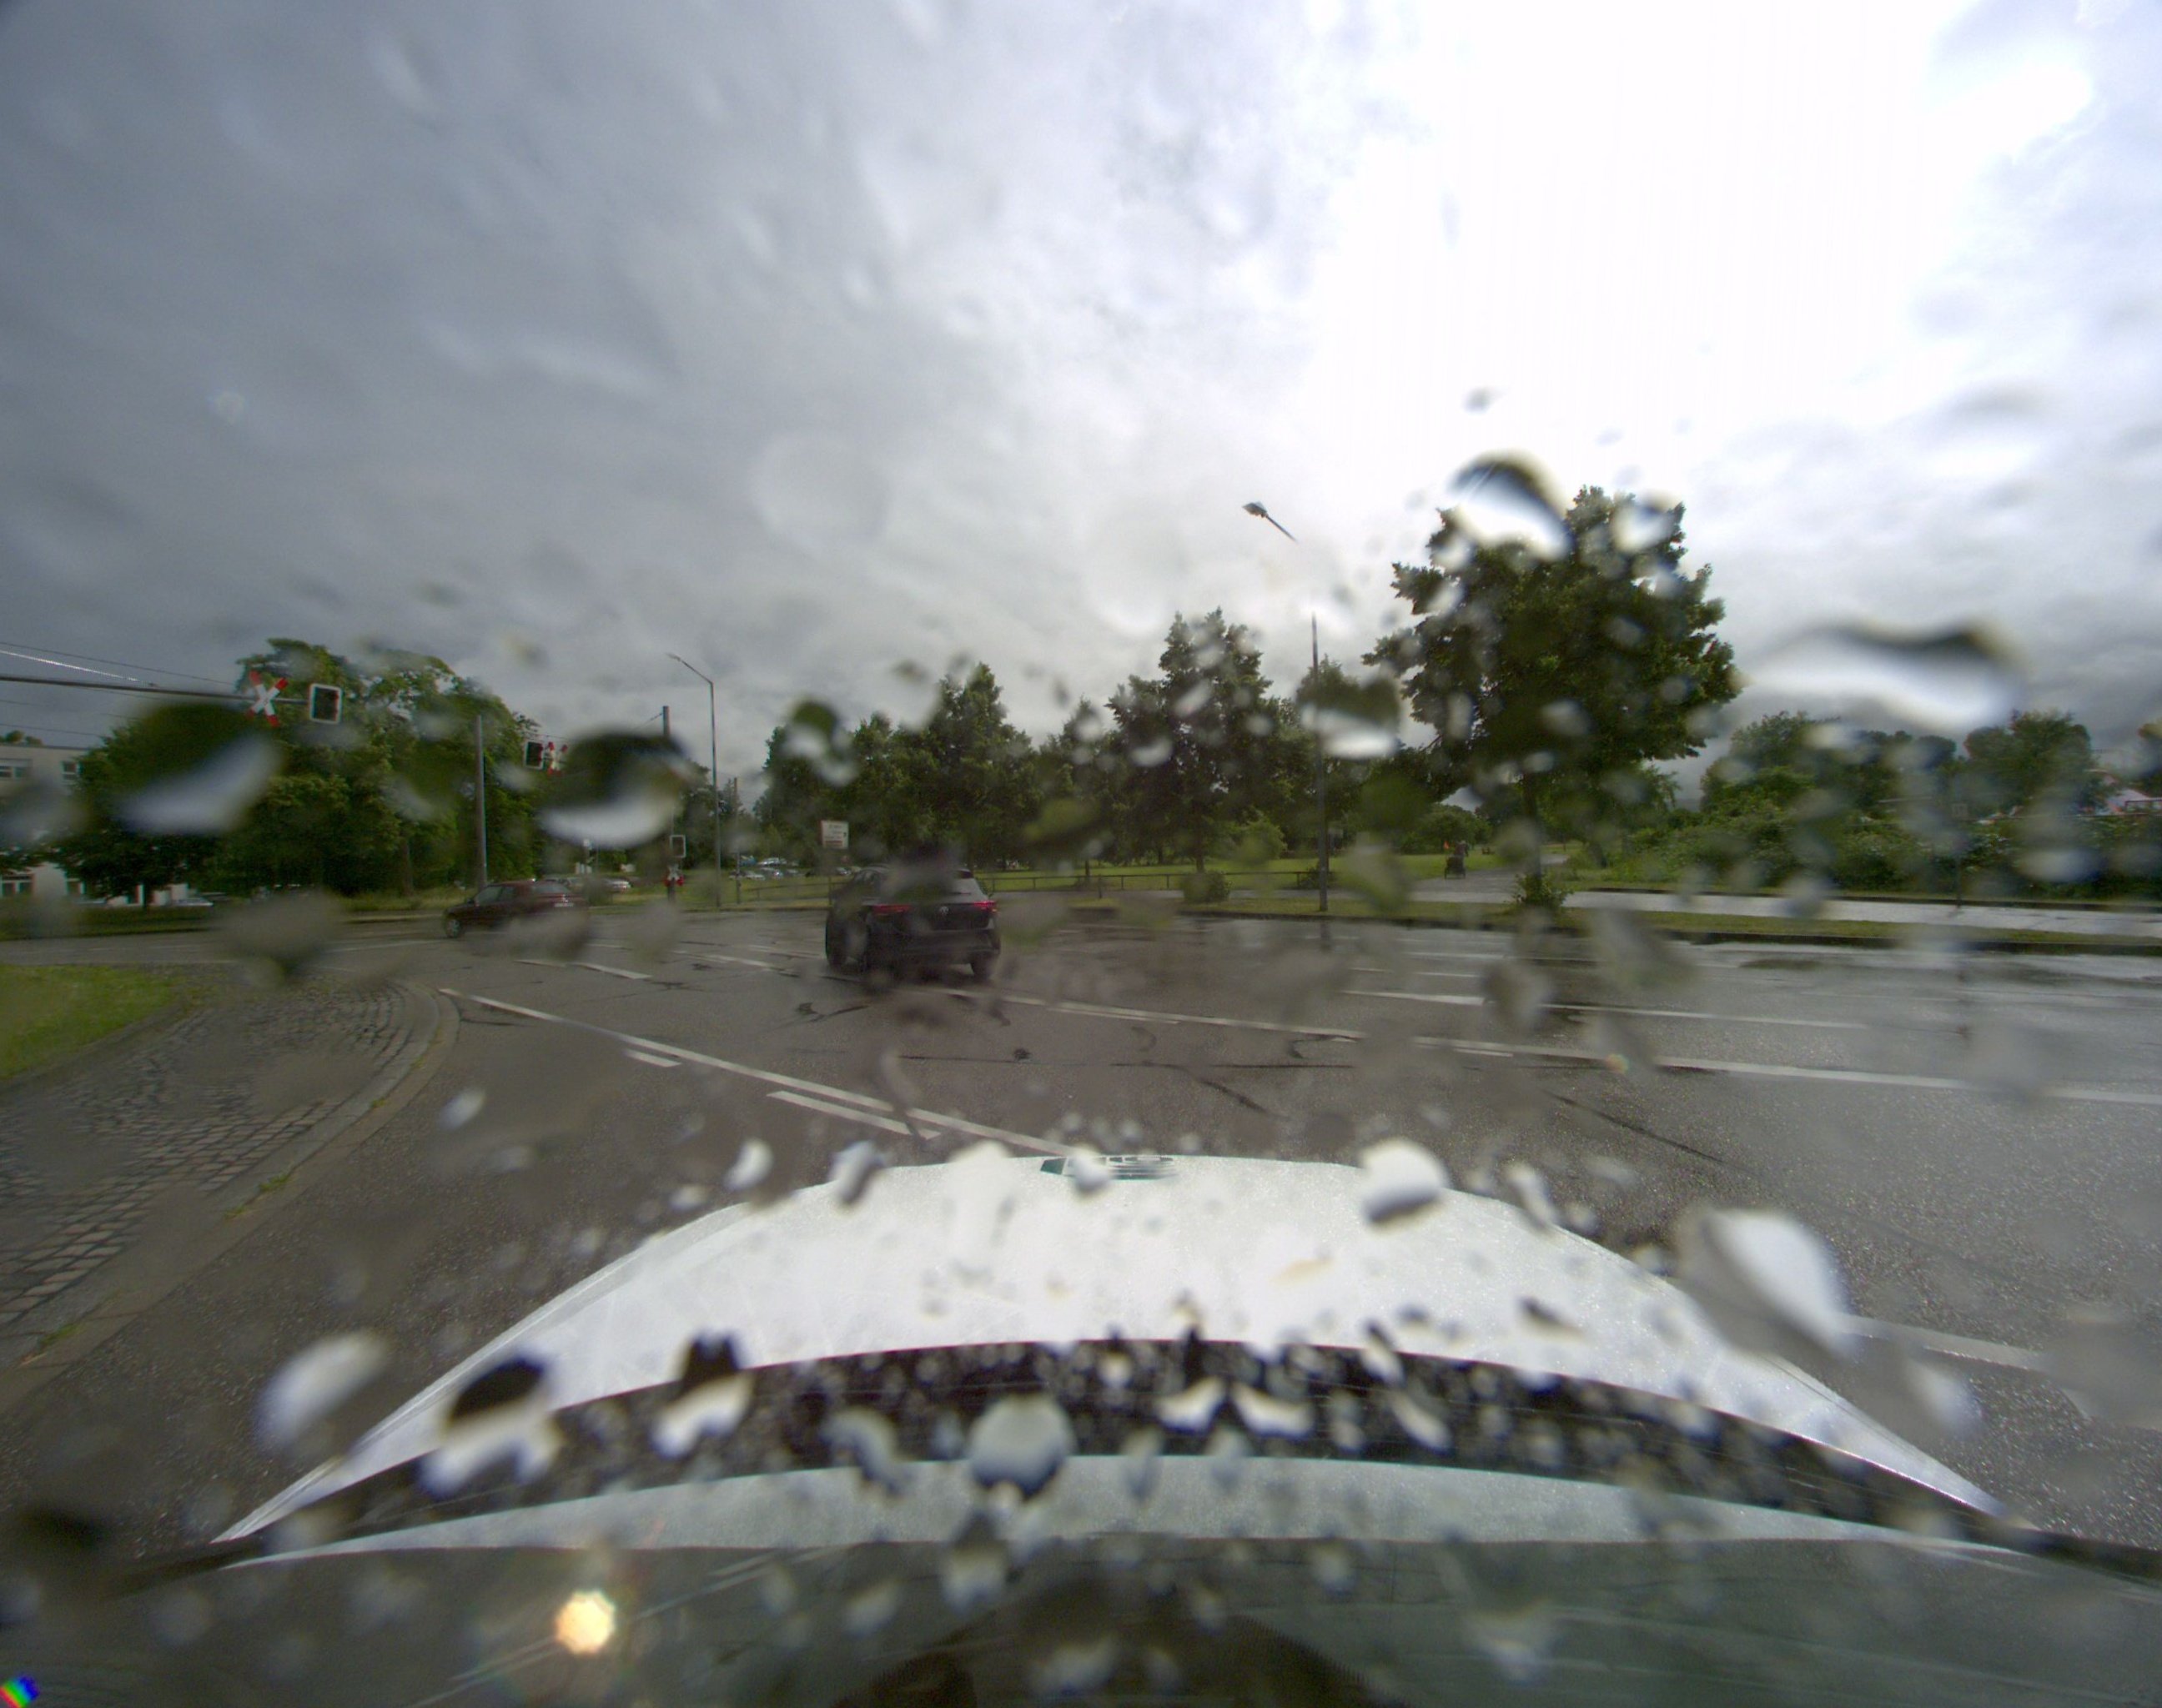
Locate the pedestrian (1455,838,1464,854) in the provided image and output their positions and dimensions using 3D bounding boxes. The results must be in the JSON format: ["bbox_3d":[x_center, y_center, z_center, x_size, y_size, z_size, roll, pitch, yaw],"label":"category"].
[{"bbox_3d":[41.155,-0.837,88.571,0.608,1.732,0.593,1,-2,-36],"label":"pedestrian"}]

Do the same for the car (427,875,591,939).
[{"bbox_3d":[-15.000,1.361,21.348,3.950,1.462,1.730,-1,1,25],"label":"car"}]

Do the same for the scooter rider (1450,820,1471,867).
[{"bbox_3d":[16.672,-0.442,35.774,0.697,2.014,0.775,-2,-2,35],"label":"scooter rider"}]

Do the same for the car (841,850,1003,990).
[{"bbox_3d":[-2.335,0.824,11.866,1.899,1.618,3.983,-2,-1,-12],"label":"car"}]

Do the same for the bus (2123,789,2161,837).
[{"bbox_3d":[81.463,-3.212,56.936,1.992,3.460,10.953,0,-2,-8],"label":"bus"}]

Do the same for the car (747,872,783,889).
[{"bbox_3d":[-33.144,2.806,85.436,3.583,1.660,1.560,-3,-1,28],"label":"car"}]

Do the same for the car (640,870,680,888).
[{"bbox_3d":[-38.583,2.311,74.671,3.602,1.510,1.661,-2,0,33],"label":"car"}]

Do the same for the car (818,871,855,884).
[{"bbox_3d":[-28.359,2.683,94.471,3.928,1.308,1.862,-3,-1,28],"label":"car"}]

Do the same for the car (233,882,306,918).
[{"bbox_3d":[-51.757,2.894,51.912,5.094,2.057,2.127,-1,1,32],"label":"car"}]

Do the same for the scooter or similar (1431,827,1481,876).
[{"bbox_3d":[16.189,-0.078,35.085,1.224,2.014,3.430,-2,-2,37],"label":"scooter or similar"}]

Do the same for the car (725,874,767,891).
[{"bbox_3d":[-34.345,2.892,83.377,3.949,1.528,1.810,-3,-1,28],"label":"car"}]

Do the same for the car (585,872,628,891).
[{"bbox_3d":[-40.888,2.357,70.129,3.564,1.462,1.656,-2,0,31],"label":"car"}]

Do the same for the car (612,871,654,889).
[{"bbox_3d":[-39.900,2.300,72.489,3.564,1.462,1.656,-2,0,31],"label":"car"}]

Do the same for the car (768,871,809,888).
[{"bbox_3d":[-31.574,2.749,87.920,3.949,1.714,2.012,-3,-1,29],"label":"car"}]

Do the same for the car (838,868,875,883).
[{"bbox_3d":[-26.692,2.570,96.745,3.928,1.559,1.862,-3,-1,28],"label":"car"}]

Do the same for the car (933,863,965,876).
[{"bbox_3d":[-18.290,2.183,113.035,3.928,1.559,1.862,-3,-1,28],"label":"car"}]

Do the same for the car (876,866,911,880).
[{"bbox_3d":[-23.690,2.436,102.867,3.928,1.559,1.862,-3,-1,28],"label":"car"}]
